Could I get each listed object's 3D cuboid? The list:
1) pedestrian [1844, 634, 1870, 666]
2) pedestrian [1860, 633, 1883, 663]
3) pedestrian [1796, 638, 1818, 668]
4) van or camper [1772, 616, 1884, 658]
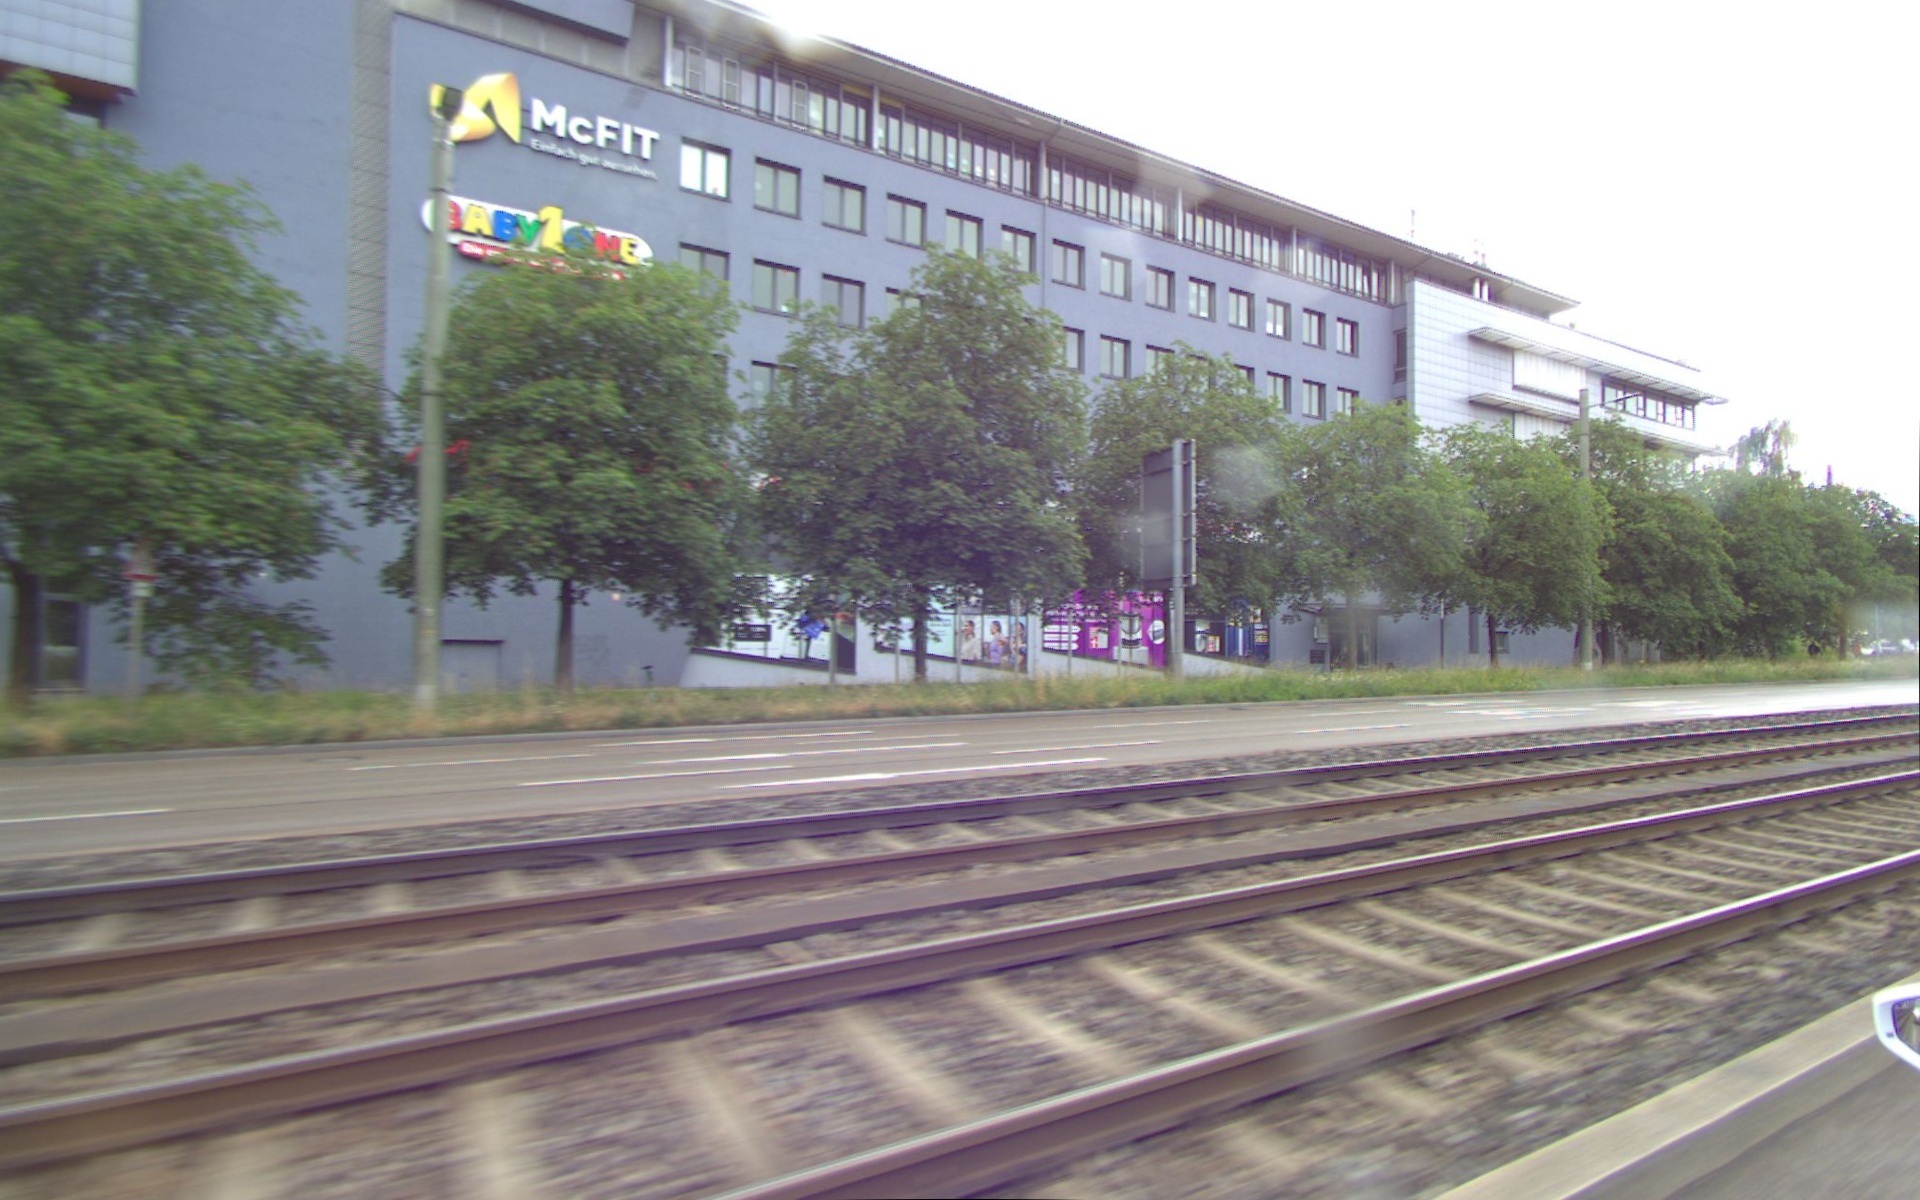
[{"bbox_3d":[57.134,3.192,63.983,0.929,2.040,0.887,1,-2,-15],"label":"pedestrian"},{"bbox_3d":[57.420,3.014,63.274,0.938,1.892,0.634,1,-2,-14],"label":"pedestrian"},{"bbox_3d":[51.525,3.235,61.095,0.866,1.779,0.722,1,0,-28],"label":"pedestrian"},{"bbox_3d":[64.757,2.719,75.208,2.441,3.006,7.379,0,-1,5],"label":"van or camper"}]
